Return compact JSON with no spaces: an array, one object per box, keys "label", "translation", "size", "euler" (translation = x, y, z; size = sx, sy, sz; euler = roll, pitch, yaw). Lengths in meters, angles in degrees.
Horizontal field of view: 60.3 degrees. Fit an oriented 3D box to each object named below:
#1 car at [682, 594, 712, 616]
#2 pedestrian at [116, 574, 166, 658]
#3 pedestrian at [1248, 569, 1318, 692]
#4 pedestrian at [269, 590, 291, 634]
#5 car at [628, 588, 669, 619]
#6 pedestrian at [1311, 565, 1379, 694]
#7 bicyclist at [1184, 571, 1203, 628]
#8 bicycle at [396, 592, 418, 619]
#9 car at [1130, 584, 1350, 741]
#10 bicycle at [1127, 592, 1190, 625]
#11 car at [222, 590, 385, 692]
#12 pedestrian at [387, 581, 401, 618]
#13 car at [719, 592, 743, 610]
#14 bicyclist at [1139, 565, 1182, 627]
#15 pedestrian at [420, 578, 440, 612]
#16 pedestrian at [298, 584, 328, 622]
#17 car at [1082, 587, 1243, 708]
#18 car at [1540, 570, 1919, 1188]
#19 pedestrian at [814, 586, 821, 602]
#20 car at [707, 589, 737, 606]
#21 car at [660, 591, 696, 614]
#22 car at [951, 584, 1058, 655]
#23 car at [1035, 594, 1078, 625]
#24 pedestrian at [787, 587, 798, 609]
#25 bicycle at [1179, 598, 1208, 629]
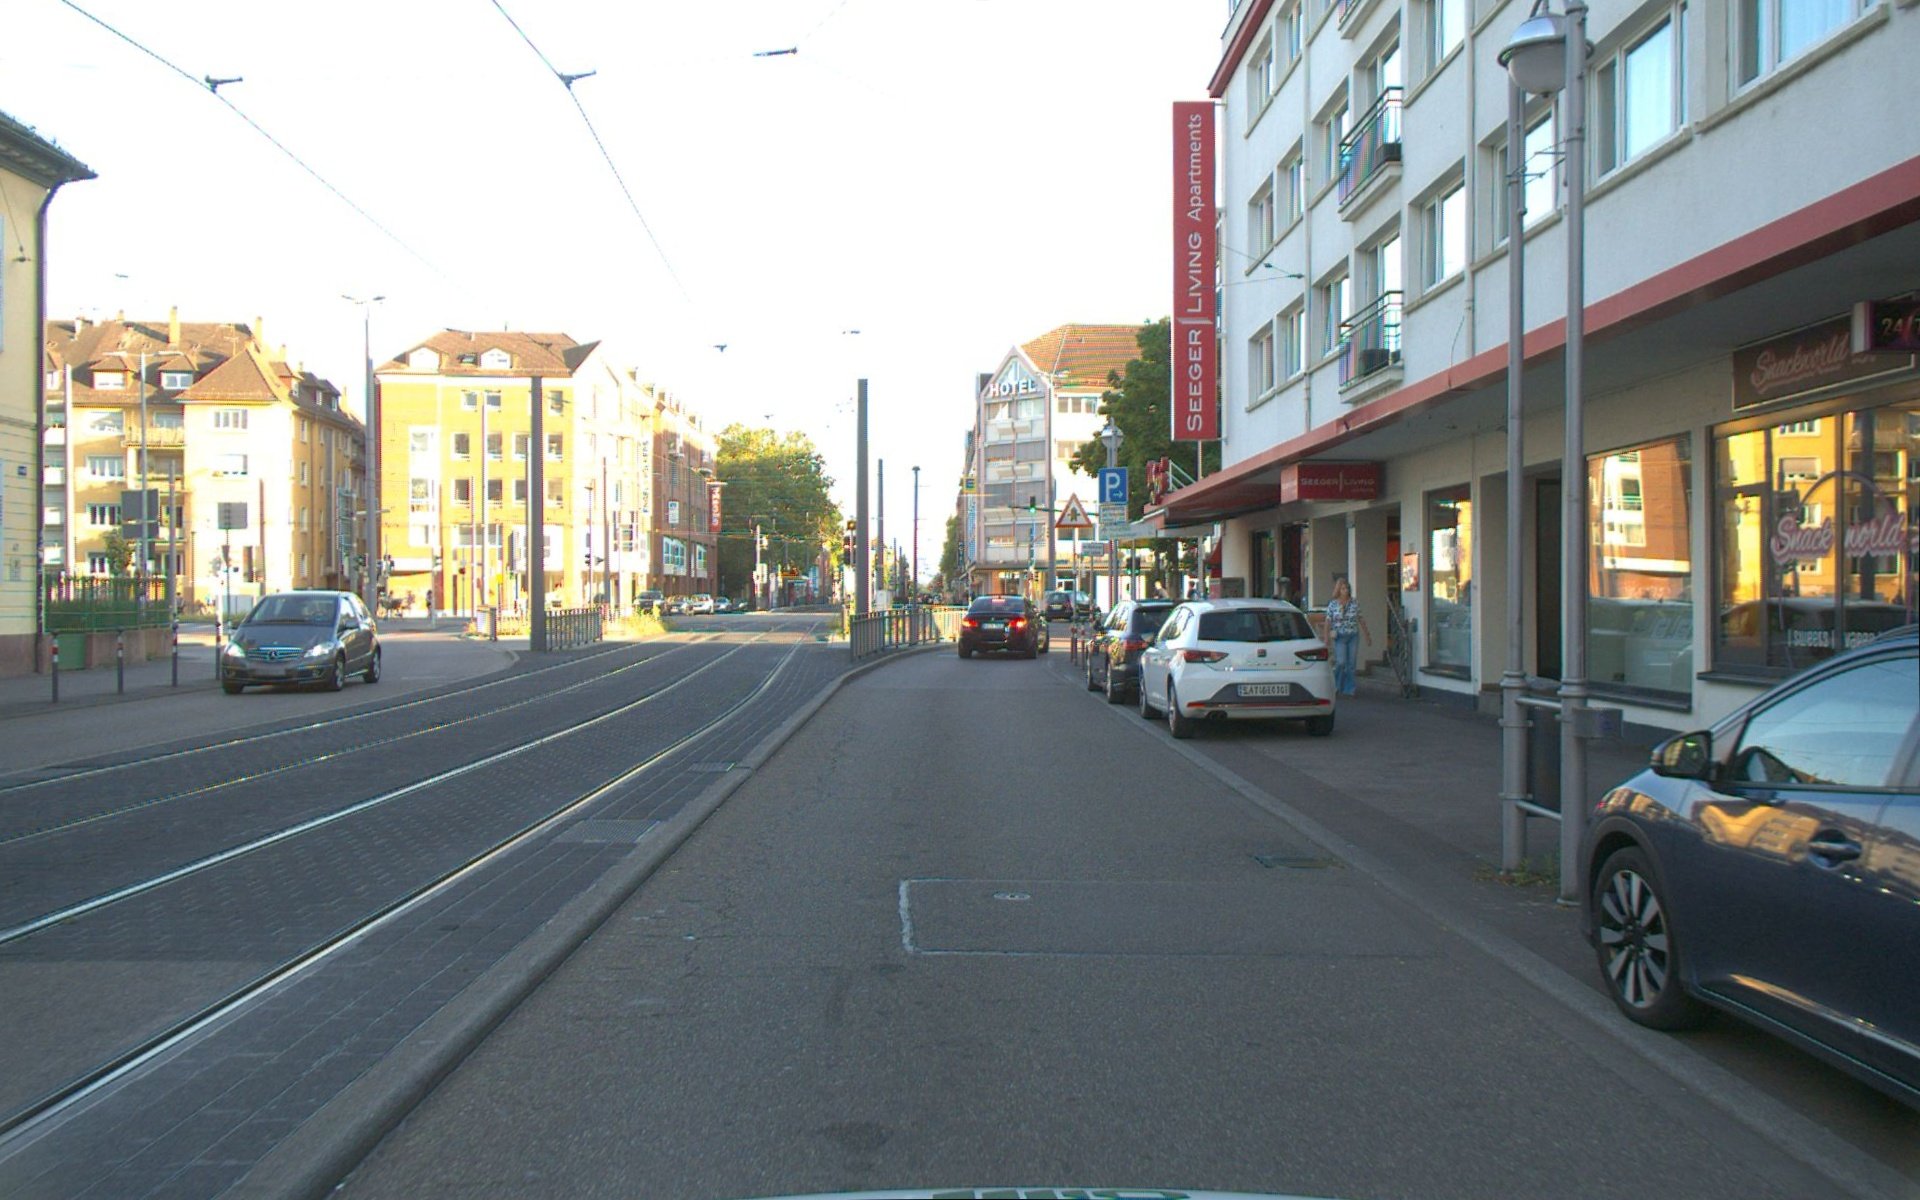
[{"label":"car","translation":[-20.525,0.380,129.165],"size":[1.954,1.612,4.110],"euler":[0,0,-3]},{"label":"pedestrian","translation":[-19.080,0.358,38.539],"size":[0.712,1.926,0.765],"euler":[0,0,23]},{"label":"pedestrian","translation":[4.719,0.437,24.232],"size":[0.810,1.748,0.843],"euler":[-2,0,-1]},{"label":"pedestrian","translation":[-30.138,0.528,73.317],"size":[0.870,1.900,0.970],"euler":[0,0,-22]},{"label":"car","translation":[-20.036,0.226,106.470],"size":[1.954,1.934,4.808],"euler":[0,0,-3]},{"label":"pedestrian","translation":[5.433,0.408,23.367],"size":[0.713,1.771,0.863],"euler":[-2,0,-1]},{"label":"bicyclist","translation":[7.641,-0.016,54.122],"size":[0.456,1.862,0.558],"euler":[0,0,-9]},{"label":"bicycle","translation":[-29.114,0.283,87.066],"size":[0.606,1.348,2.014],"euler":[2,0,-5]},{"label":"car","translation":[3.054,0.618,18.824],"size":[1.749,1.538,4.051],"euler":[-2,0,-1]},{"label":"bicycle","translation":[6.332,0.270,52.902],"size":[0.832,1.038,2.049],"euler":[0,0,-38]},{"label":"car","translation":[-10.720,0.607,27.258],"size":[1.704,1.538,4.025],"euler":[0,0,-10]},{"label":"pedestrian","translation":[-29.651,-0.029,86.658],"size":[0.492,1.900,0.562],"euler":[2,0,-6]},{"label":"car","translation":[-21.863,0.091,157.912],"size":[1.954,1.612,4.476],"euler":[0,0,-3]},{"label":"bicyclist","translation":[6.407,-0.125,52.802],"size":[0.832,1.951,1.100],"euler":[0,0,-38]},{"label":"pedestrian","translation":[-30.615,-0.279,95.494],"size":[0.923,1.900,0.837],"euler":[2,0,-10]},{"label":"pedestrian","translation":[-33.798,0.146,86.379],"size":[1.005,1.978,1.096],"euler":[0,0,37]},{"label":"car","translation":[2.833,0.609,24.113],"size":[1.700,1.538,4.685],"euler":[-2,0,0]},{"label":"car","translation":[3.242,0.682,4.584],"size":[1.700,1.538,4.303],"euler":[-2,0,0]},{"label":"pedestrian","translation":[-15.683,-0.670,181.923],"size":[0.708,1.710,0.991],"euler":[0,0,1]},{"label":"car","translation":[-20.981,-0.194,145.790],"size":[1.634,1.473,4.205],"euler":[0,0,7]},{"label":"car","translation":[-19.764,0.152,116.044],"size":[1.954,1.612,4.584],"euler":[0,0,-3]},{"label":"car","translation":[1.140,0.439,40.154],"size":[1.951,1.612,4.004],"euler":[-1,0,11]},{"label":"car","translation":[5.053,0.471,87.237],"size":[1.953,1.579,3.999],"euler":[0,0,-1]},{"label":"pedestrian","translation":[-15.999,-0.194,158.144],"size":[0.968,2.049,0.725],"euler":[1,0,-2]},{"label":"bicycle","translation":[7.632,0.434,54.146],"size":[0.456,0.987,1.797],"euler":[0,0,-9]}]
